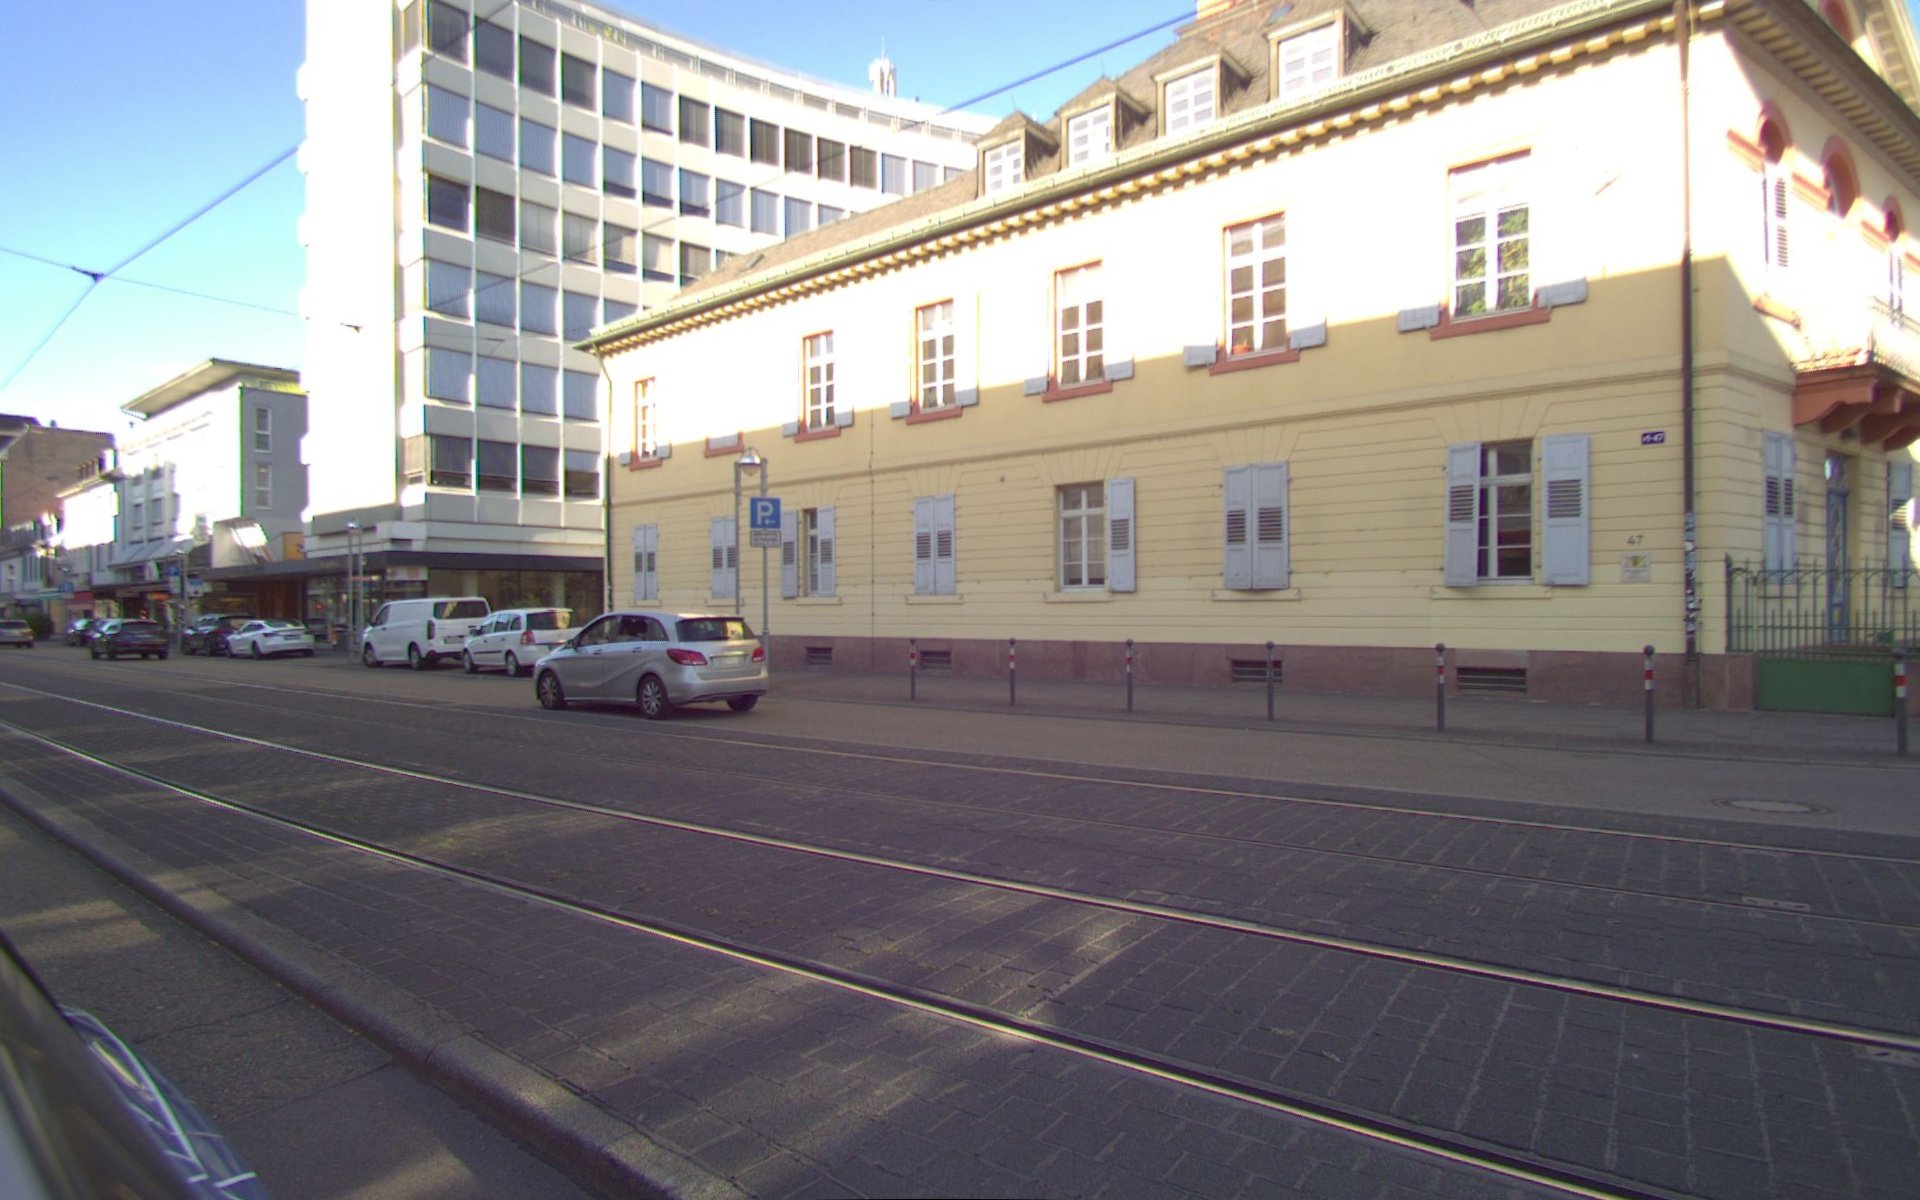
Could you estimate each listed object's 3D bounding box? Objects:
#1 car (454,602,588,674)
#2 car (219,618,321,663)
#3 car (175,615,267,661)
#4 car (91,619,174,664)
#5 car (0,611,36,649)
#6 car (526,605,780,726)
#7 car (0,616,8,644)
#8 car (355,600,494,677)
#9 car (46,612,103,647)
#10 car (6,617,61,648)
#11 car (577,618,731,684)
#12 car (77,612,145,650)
[{"bbox_3d":[-11.003,0.896,25.264,4.005,1.621,1.619,-1,0,43],"label":"car"},{"bbox_3d":[-25.660,1.454,37.600,4.369,1.541,1.974,-1,0,39],"label":"car"},{"bbox_3d":[-29.923,1.500,40.964,4.103,1.717,1.975,-1,0,38],"label":"car"},{"bbox_3d":[-30.639,1.493,37.441,4.001,1.519,1.937,-1,0,44],"label":"car"},{"bbox_3d":[-50.032,1.552,52.939,3.851,1.908,1.891,-1,0,38],"label":"car"},{"bbox_3d":[-4.752,0.909,15.414,3.994,1.609,1.739,-1,-1,38],"label":"car"},{"bbox_3d":[-71.694,2.198,74.538,3.998,2.029,1.973,-1,-1,41],"label":"car"},{"bbox_3d":[-15.394,1.058,28.976,4.619,2.029,2.014,-1,-1,41],"label":"car"},{"bbox_3d":[-50.577,1.660,57.769,3.995,1.896,1.768,-1,-1,38],"label":"car"},{"bbox_3d":[-62.459,2.170,68.184,3.996,2.058,2.172,-1,-1,39],"label":"car"},{"bbox_3d":[-6.593,1.035,21.710,3.210,1.263,1.667,-1,0,39],"label":"car"},{"bbox_3d":[-44.446,1.593,52.952,3.995,1.874,1.974,-1,0,38],"label":"car"}]
